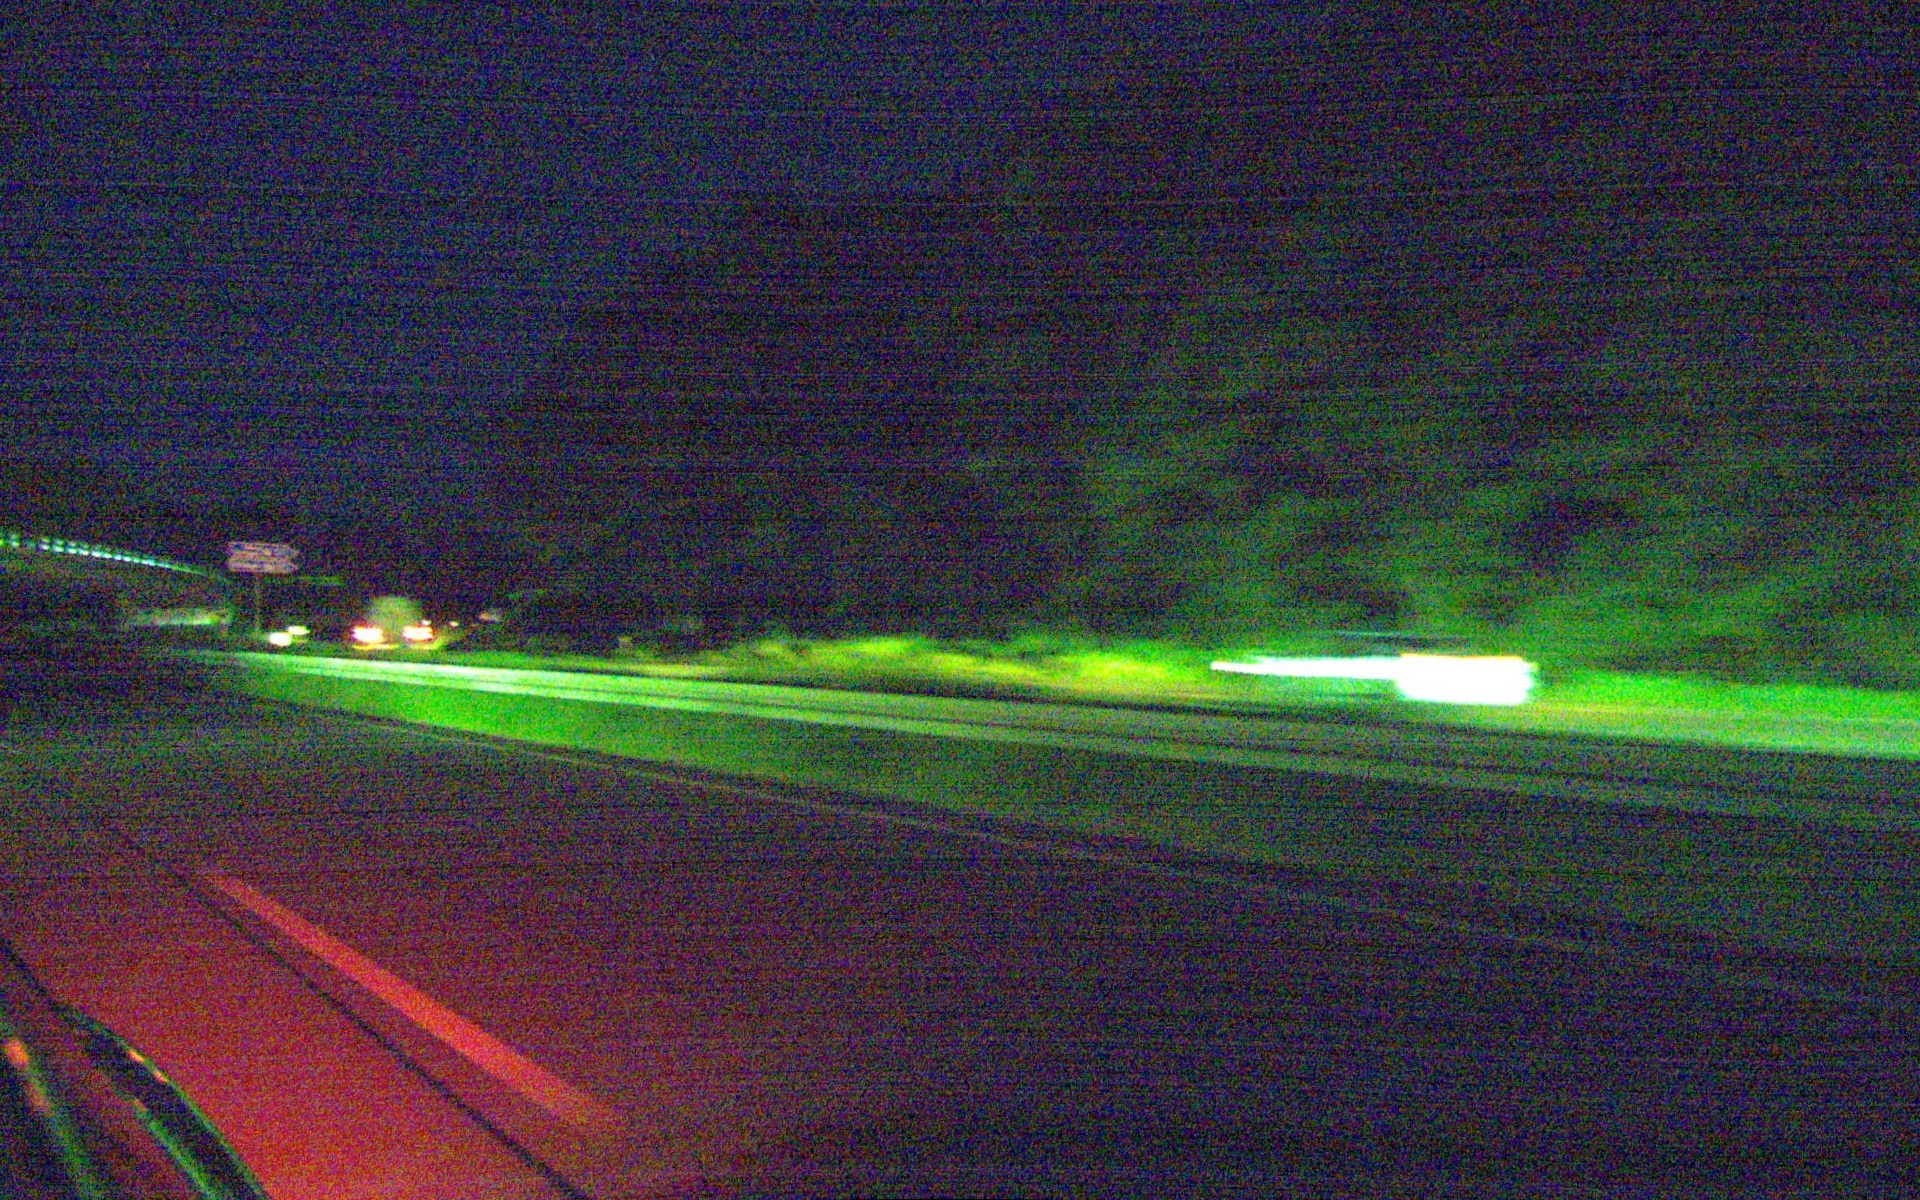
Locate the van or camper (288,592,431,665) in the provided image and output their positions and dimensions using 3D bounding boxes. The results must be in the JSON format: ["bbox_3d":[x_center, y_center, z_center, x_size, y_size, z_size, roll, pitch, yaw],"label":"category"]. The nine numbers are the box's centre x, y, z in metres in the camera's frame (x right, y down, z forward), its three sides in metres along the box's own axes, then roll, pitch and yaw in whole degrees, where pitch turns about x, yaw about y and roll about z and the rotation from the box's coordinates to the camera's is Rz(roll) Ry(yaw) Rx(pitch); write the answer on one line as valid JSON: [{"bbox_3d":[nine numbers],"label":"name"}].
[{"bbox_3d":[-23.780,1.144,39.932,7.656,2.637,2.272,-1,-2,39],"label":"van or camper"}]

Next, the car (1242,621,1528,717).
[{"bbox_3d":[7.272,1.123,17.591,4.172,1.468,1.936,-2,-3,44],"label":"car"}]
